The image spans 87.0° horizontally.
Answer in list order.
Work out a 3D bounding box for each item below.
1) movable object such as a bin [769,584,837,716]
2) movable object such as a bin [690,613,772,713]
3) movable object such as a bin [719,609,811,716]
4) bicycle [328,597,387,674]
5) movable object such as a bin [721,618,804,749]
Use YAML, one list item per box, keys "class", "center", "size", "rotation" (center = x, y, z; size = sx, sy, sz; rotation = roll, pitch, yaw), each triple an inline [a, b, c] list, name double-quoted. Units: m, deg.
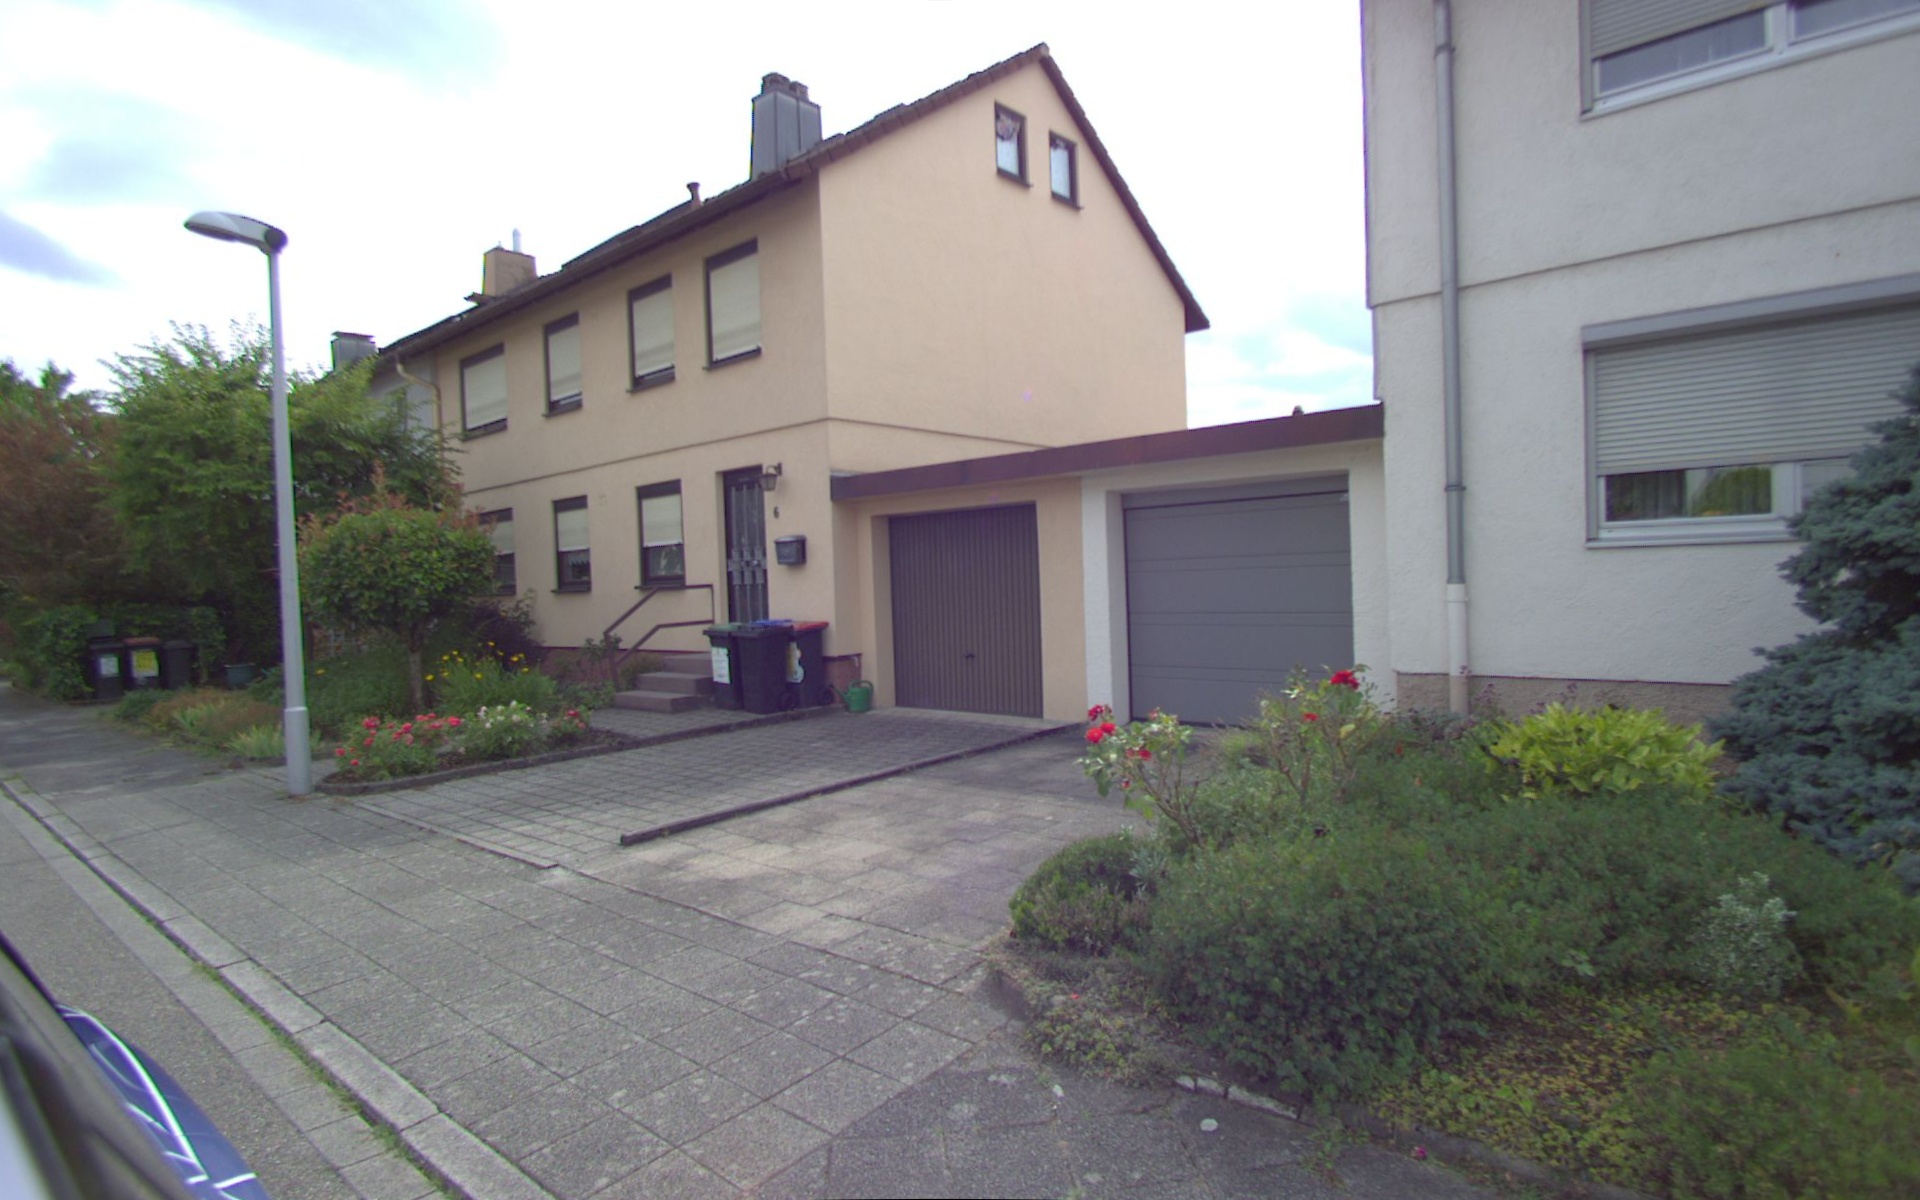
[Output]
- class: "movable object such as a bin"
  center: [-1.711, 0.530, 11.012]
  size: [0.610, 1.395, 0.406]
  rotation: [-1, 0, 41]
- class: "movable object such as a bin"
  center: [-2.462, 0.661, 10.889]
  size: [0.541, 1.010, 0.646]
  rotation: [-1, 0, 41]
- class: "movable object such as a bin"
  center: [-2.039, 0.635, 10.588]
  size: [0.632, 1.028, 0.646]
  rotation: [-1, 2, 41]
- class: "bicycle"
  center: [-11.607, 0.674, 19.468]
  size: [1.848, 1.406, 0.427]
  rotation: [-1, 1, 43]
- class: "movable object such as a bin"
  center: [-2.230, 0.915, 11.440]
  size: [0.632, 1.395, 0.646]
  rotation: [-1, 0, 41]
